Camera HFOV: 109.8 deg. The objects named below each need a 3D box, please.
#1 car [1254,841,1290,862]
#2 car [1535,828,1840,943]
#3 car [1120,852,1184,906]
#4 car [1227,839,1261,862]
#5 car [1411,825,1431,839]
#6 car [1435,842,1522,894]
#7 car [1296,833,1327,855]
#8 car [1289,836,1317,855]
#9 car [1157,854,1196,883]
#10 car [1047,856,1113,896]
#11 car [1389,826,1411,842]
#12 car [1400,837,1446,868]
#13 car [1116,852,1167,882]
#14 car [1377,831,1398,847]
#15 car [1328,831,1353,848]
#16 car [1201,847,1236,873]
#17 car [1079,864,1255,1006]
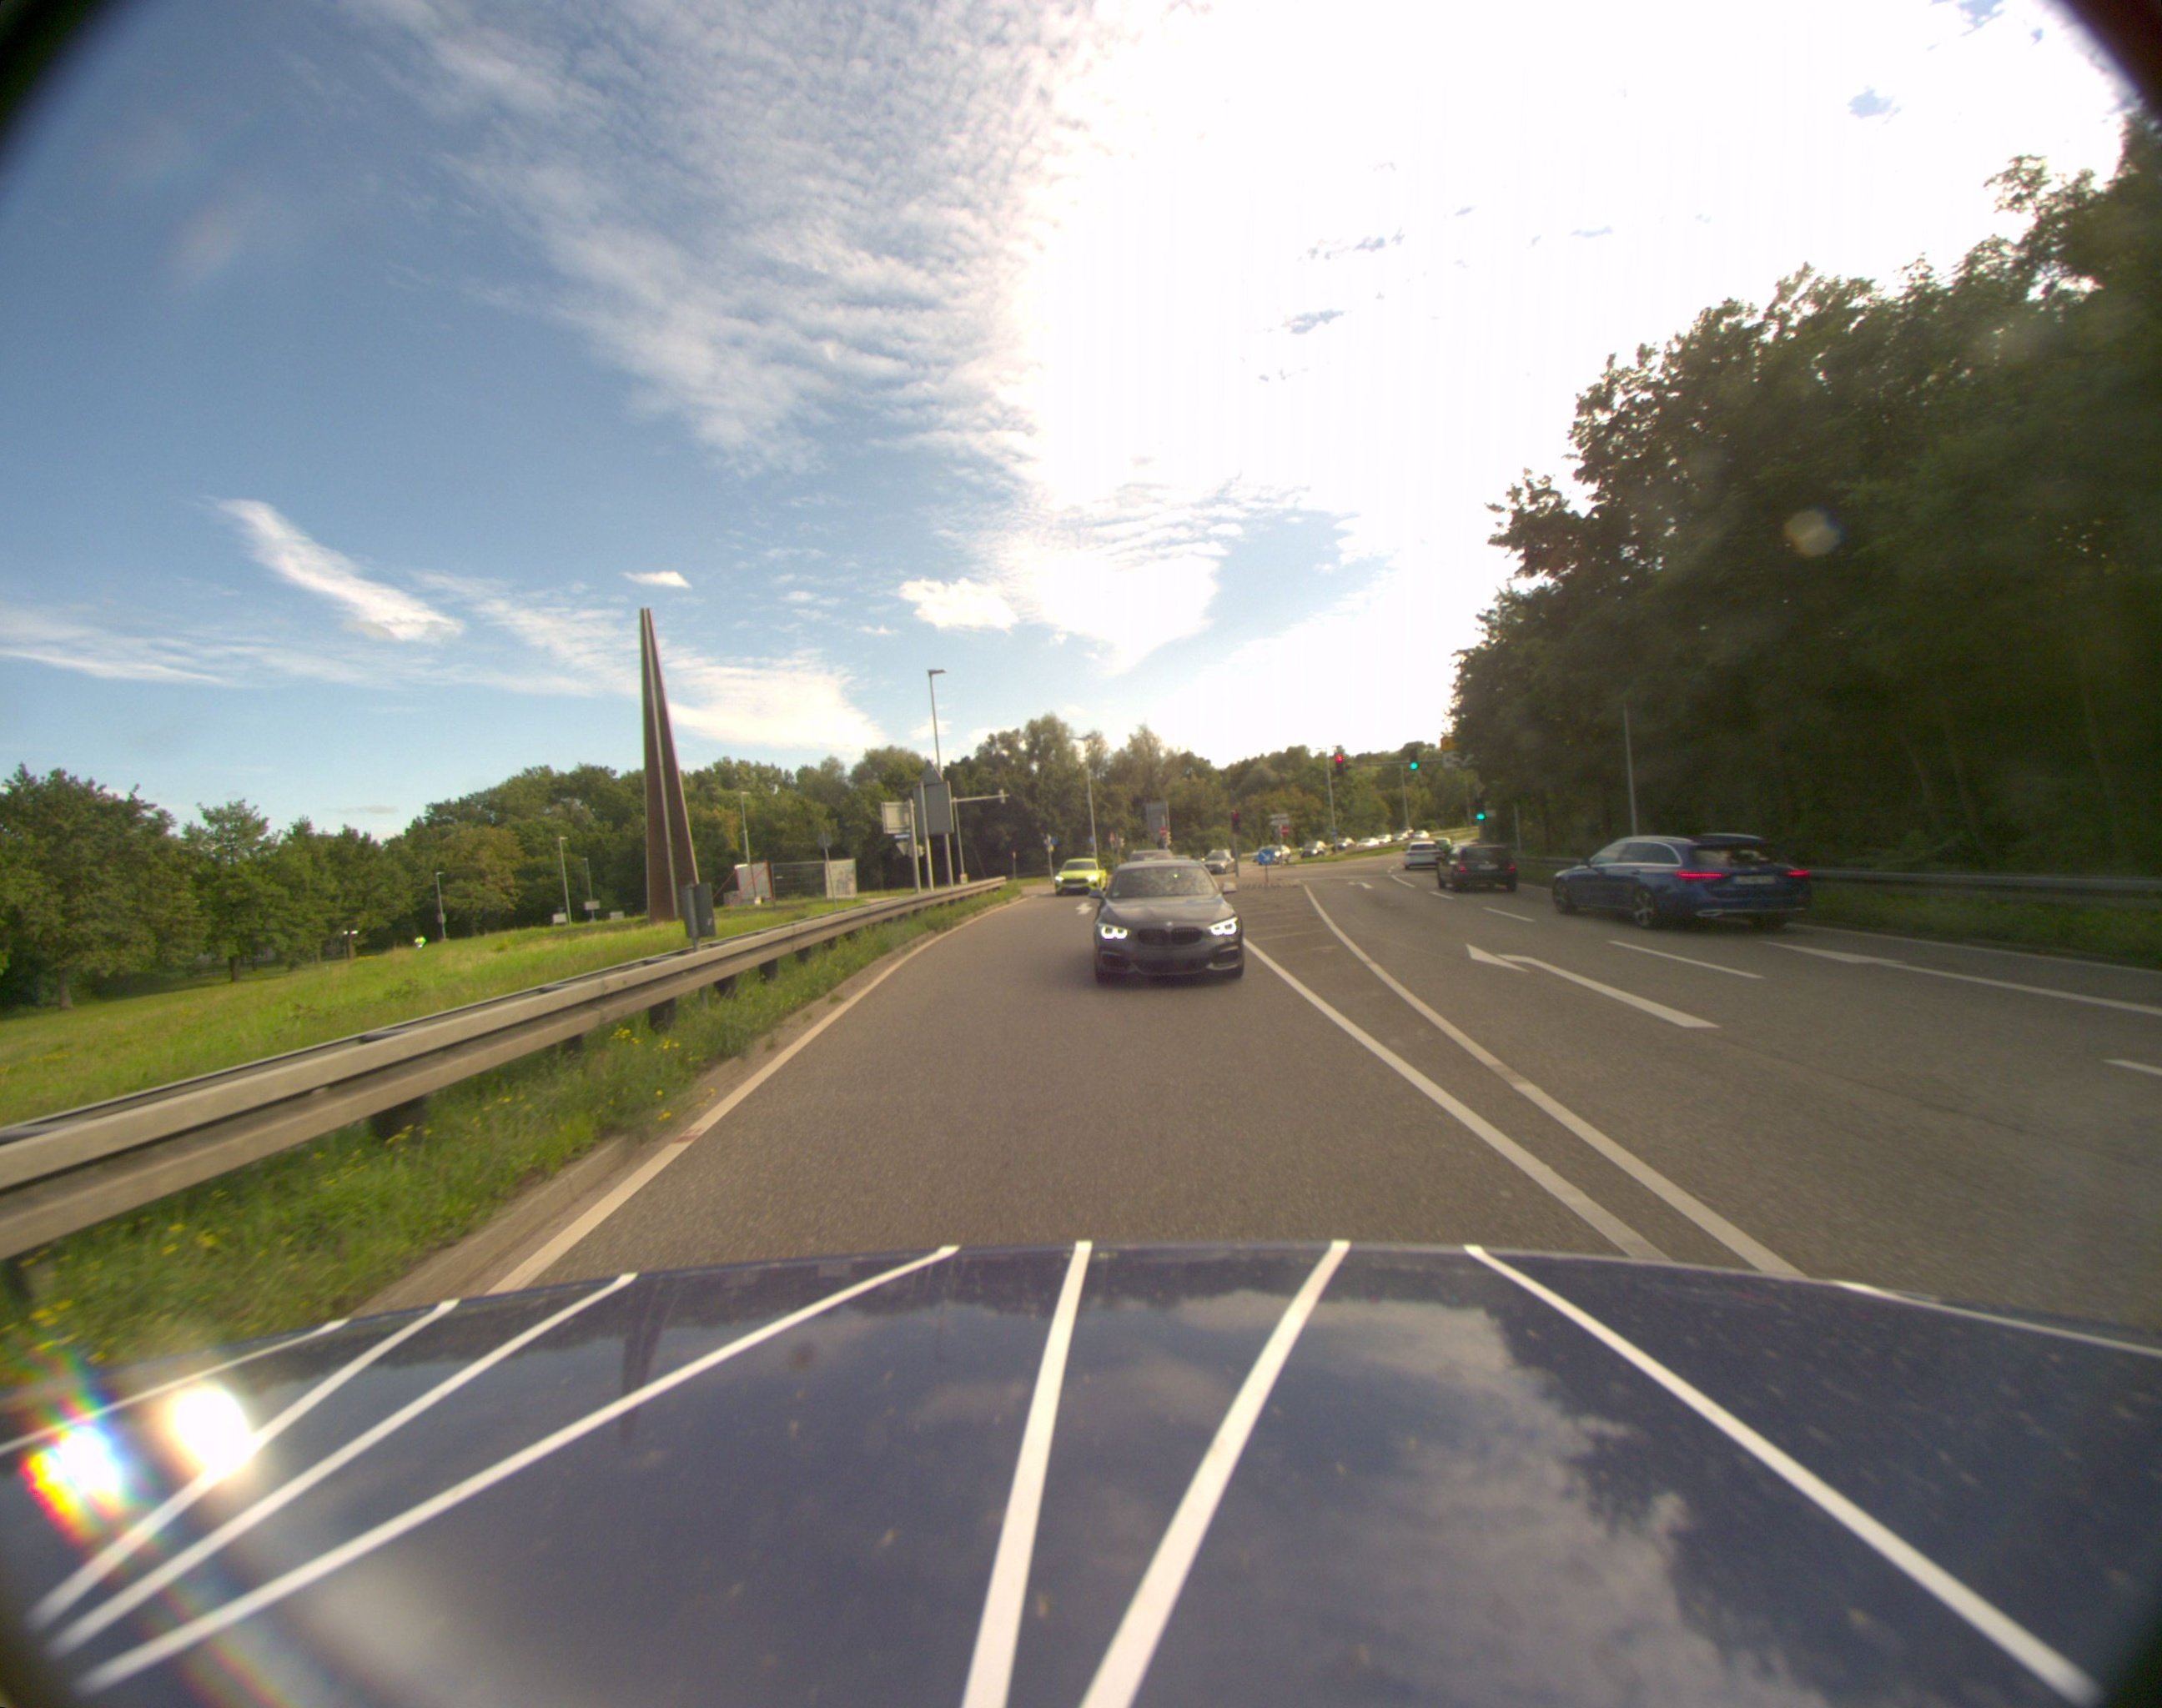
[{"bbox_3d":[16.884,-0.232,67.079,1.995,1.591,4.288,-3,1,28],"label":"car"},{"bbox_3d":[9.660,0.425,12.726,1.817,1.511,4.767,-2,0,9],"label":"car"},{"bbox_3d":[2.258,0.728,24.552,1.818,1.498,4.392,-3,0,4],"label":"car"},{"bbox_3d":[15.798,-0.382,73.372,1.995,2.002,4.007,-3,1,30],"label":"car"},{"bbox_3d":[53.138,-3.429,118.781,1.995,2.002,4.007,-3,1,37],"label":"car"},{"bbox_3d":[11.672,0.367,22.518,1.627,1.357,3.778,-3,0,18],"label":"car"},{"bbox_3d":[23.471,-1.013,77.351,1.995,2.002,4.280,-3,1,31],"label":"car"},{"bbox_3d":[25.406,-0.966,86.829,1.995,2.002,4.007,-3,1,32],"label":"car"},{"bbox_3d":[4.912,0.734,39.535,1.690,1.315,3.785,-3,1,3],"label":"car"},{"bbox_3d":[0.040,0.867,31.587,1.817,1.396,4.395,-3,0,12],"label":"car"},{"bbox_3d":[42.445,-2.652,101.153,1.995,2.002,4.007,-3,1,33],"label":"car"},{"bbox_3d":[18.299,-0.114,40.866,1.816,1.511,4.833,-3,0,20],"label":"car"},{"bbox_3d":[3.640,0.743,45.310,1.996,1.543,4.005,-3,1,19],"label":"car"},{"bbox_3d":[42.847,-2.085,106.030,1.995,2.002,4.007,-3,1,32],"label":"car"},{"bbox_3d":[32.537,-1.844,95.264,1.995,2.002,4.007,-3,1,32],"label":"car"},{"bbox_3d":[9.459,0.401,52.161,1.638,1.542,3.746,-6,-1,20],"label":"car"},{"bbox_3d":[0.933,0.902,10.231,1.786,1.396,3.970,-3,0,-1],"label":"car"}]
